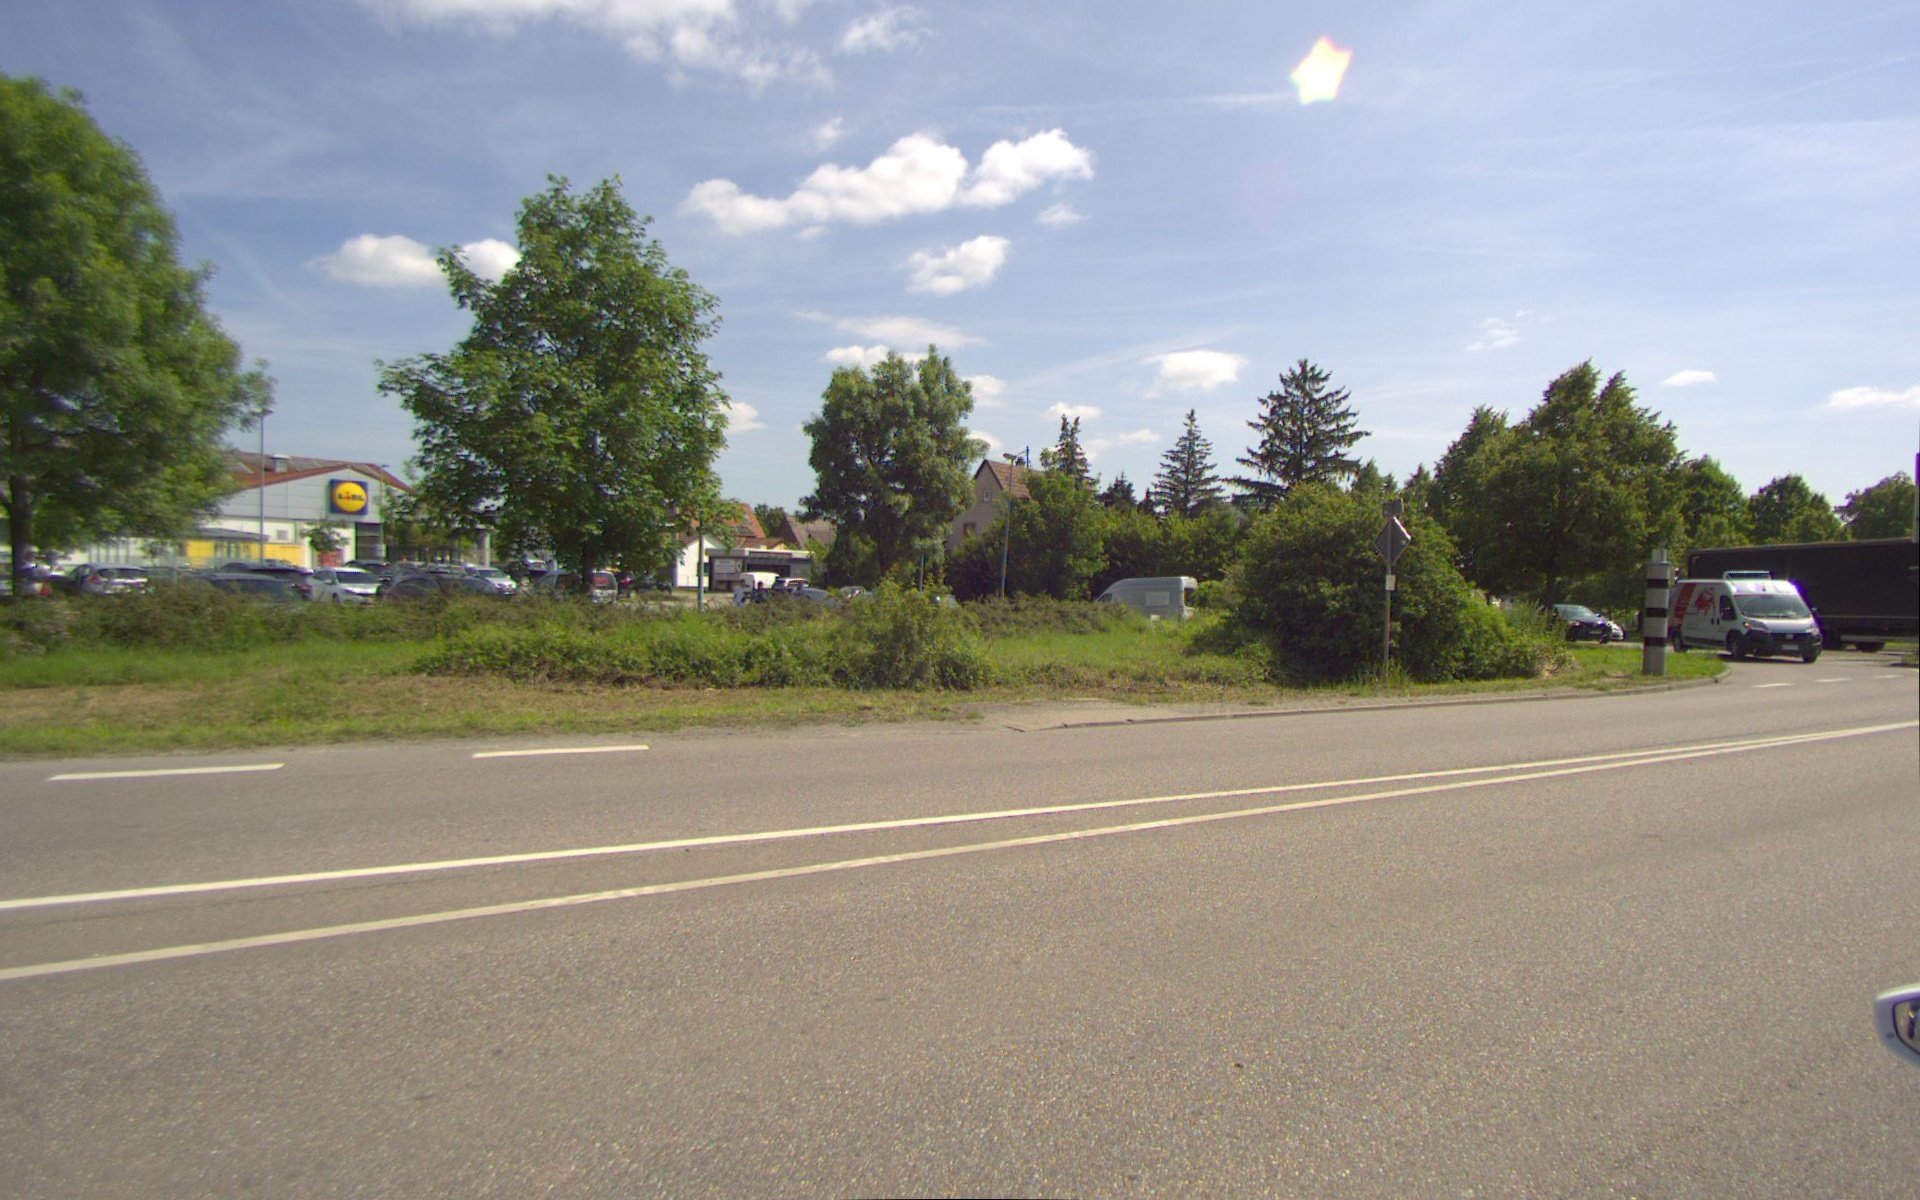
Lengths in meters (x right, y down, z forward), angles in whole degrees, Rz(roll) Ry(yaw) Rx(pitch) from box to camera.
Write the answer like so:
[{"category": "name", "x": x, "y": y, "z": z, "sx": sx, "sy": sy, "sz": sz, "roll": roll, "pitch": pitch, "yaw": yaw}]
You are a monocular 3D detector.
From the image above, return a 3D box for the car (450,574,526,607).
[{"category": "car", "x": -23.908, "y": -0.504, "z": 50.852, "sx": 4.194, "sy": 1.562, "sz": 1.871, "roll": 2, "pitch": 0, "yaw": 40}]

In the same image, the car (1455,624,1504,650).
[{"category": "car", "x": 33.217, "y": 2.358, "z": 64.293, "sx": 1.758, "sy": 1.436, "sz": 4.050, "roll": 0, "pitch": 1, "yaw": 12}]

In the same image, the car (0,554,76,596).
[{"category": "car", "x": -35.021, "y": -0.945, "z": 37.711, "sx": 3.933, "sy": 1.461, "sz": 1.880, "roll": 3, "pitch": 1, "yaw": 35}]

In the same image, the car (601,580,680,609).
[{"category": "car", "x": -19.349, "y": -0.311, "z": 60.958, "sx": 1.850, "sy": 1.562, "sz": 4.242, "roll": 2, "pitch": 0, "yaw": 37}]

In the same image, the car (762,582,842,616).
[{"category": "car", "x": -8.452, "y": -0.030, "z": 53.895, "sx": 1.883, "sy": 1.662, "sz": 3.983, "roll": 2, "pitch": 0, "yaw": 38}]

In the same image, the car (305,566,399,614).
[{"category": "car", "x": -21.558, "y": -0.371, "z": 35.563, "sx": 3.941, "sy": 1.549, "sz": 1.770, "roll": 2, "pitch": 0, "yaw": 42}]

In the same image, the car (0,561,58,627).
[{"category": "car", "x": -23.950, "y": -0.200, "z": 24.869, "sx": 4.082, "sy": 1.522, "sz": 1.775, "roll": 3, "pitch": 1, "yaw": 39}]

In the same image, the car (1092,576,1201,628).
[{"category": "car", "x": 8.631, "y": 0.063, "z": 46.737, "sx": 4.525, "sy": 2.209, "sz": 1.992, "roll": 2, "pitch": 1, "yaw": 38}]

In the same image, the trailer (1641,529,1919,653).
[{"category": "trailer", "x": 32.652, "y": -0.345, "z": 37.813, "sx": 2.748, "sy": 4.116, "sz": 13.700, "roll": 0, "pitch": 1, "yaw": -11}]

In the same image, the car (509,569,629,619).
[{"category": "car", "x": -14.352, "y": -0.241, "z": 36.823, "sx": 4.354, "sy": 1.717, "sz": 1.994, "roll": 1, "pitch": 0, "yaw": 34}]

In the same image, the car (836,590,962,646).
[{"category": "car", "x": -2.133, "y": 0.613, "z": 35.008, "sx": 3.928, "sy": 1.751, "sz": 1.996, "roll": 2, "pitch": 0, "yaw": 30}]

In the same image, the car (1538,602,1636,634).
[{"category": "car", "x": 31.651, "y": 0.880, "z": 50.877, "sx": 1.778, "sy": 1.480, "sz": 4.251, "roll": 1, "pitch": 1, "yaw": -11}]

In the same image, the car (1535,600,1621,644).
[{"category": "car", "x": 27.152, "y": 0.952, "z": 44.314, "sx": 1.834, "sy": 1.773, "sz": 4.113, "roll": 2, "pitch": 0, "yaw": 11}]

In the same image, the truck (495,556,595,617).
[{"category": "truck", "x": -17.326, "y": -0.578, "z": 41.882, "sx": 3.933, "sy": 2.397, "sz": 1.994, "roll": 2, "pitch": 0, "yaw": 35}]

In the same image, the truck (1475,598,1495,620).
[{"category": "truck", "x": 93.158, "y": 1.590, "z": 178.075, "sx": 2.894, "sy": 3.848, "sz": 7.913, "roll": 1, "pitch": 0, "yaw": 29}]

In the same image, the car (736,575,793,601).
[{"category": "car", "x": -14.824, "y": -0.896, "z": 76.353, "sx": 1.867, "sy": 1.782, "sz": 3.987, "roll": 2, "pitch": 0, "yaw": 35}]

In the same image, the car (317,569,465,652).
[{"category": "car", "x": -12.734, "y": 0.187, "z": 22.375, "sx": 3.942, "sy": 1.679, "sz": 1.685, "roll": 2, "pitch": 0, "yaw": 42}]

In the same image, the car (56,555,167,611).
[{"category": "car", "x": -25.556, "y": -0.526, "z": 30.218, "sx": 3.937, "sy": 1.549, "sz": 1.772, "roll": 2, "pitch": 0, "yaw": 38}]

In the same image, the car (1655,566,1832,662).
[{"category": "car", "x": 24.664, "y": 0.339, "z": 31.993, "sx": 2.081, "sy": 2.690, "sz": 5.988, "roll": 2, "pitch": 2, "yaw": 14}]

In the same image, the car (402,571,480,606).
[{"category": "car", "x": -25.206, "y": -0.573, "z": 48.722, "sx": 4.194, "sy": 1.562, "sz": 1.871, "roll": 2, "pitch": 0, "yaw": 40}]

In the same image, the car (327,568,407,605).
[{"category": "car", "x": -27.342, "y": -0.638, "z": 46.232, "sx": 4.194, "sy": 1.562, "sz": 1.871, "roll": 2, "pitch": 0, "yaw": 40}]

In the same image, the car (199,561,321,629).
[{"category": "car", "x": -19.920, "y": -0.171, "z": 28.549, "sx": 3.940, "sy": 1.697, "sz": 1.902, "roll": 3, "pitch": 2, "yaw": 40}]
